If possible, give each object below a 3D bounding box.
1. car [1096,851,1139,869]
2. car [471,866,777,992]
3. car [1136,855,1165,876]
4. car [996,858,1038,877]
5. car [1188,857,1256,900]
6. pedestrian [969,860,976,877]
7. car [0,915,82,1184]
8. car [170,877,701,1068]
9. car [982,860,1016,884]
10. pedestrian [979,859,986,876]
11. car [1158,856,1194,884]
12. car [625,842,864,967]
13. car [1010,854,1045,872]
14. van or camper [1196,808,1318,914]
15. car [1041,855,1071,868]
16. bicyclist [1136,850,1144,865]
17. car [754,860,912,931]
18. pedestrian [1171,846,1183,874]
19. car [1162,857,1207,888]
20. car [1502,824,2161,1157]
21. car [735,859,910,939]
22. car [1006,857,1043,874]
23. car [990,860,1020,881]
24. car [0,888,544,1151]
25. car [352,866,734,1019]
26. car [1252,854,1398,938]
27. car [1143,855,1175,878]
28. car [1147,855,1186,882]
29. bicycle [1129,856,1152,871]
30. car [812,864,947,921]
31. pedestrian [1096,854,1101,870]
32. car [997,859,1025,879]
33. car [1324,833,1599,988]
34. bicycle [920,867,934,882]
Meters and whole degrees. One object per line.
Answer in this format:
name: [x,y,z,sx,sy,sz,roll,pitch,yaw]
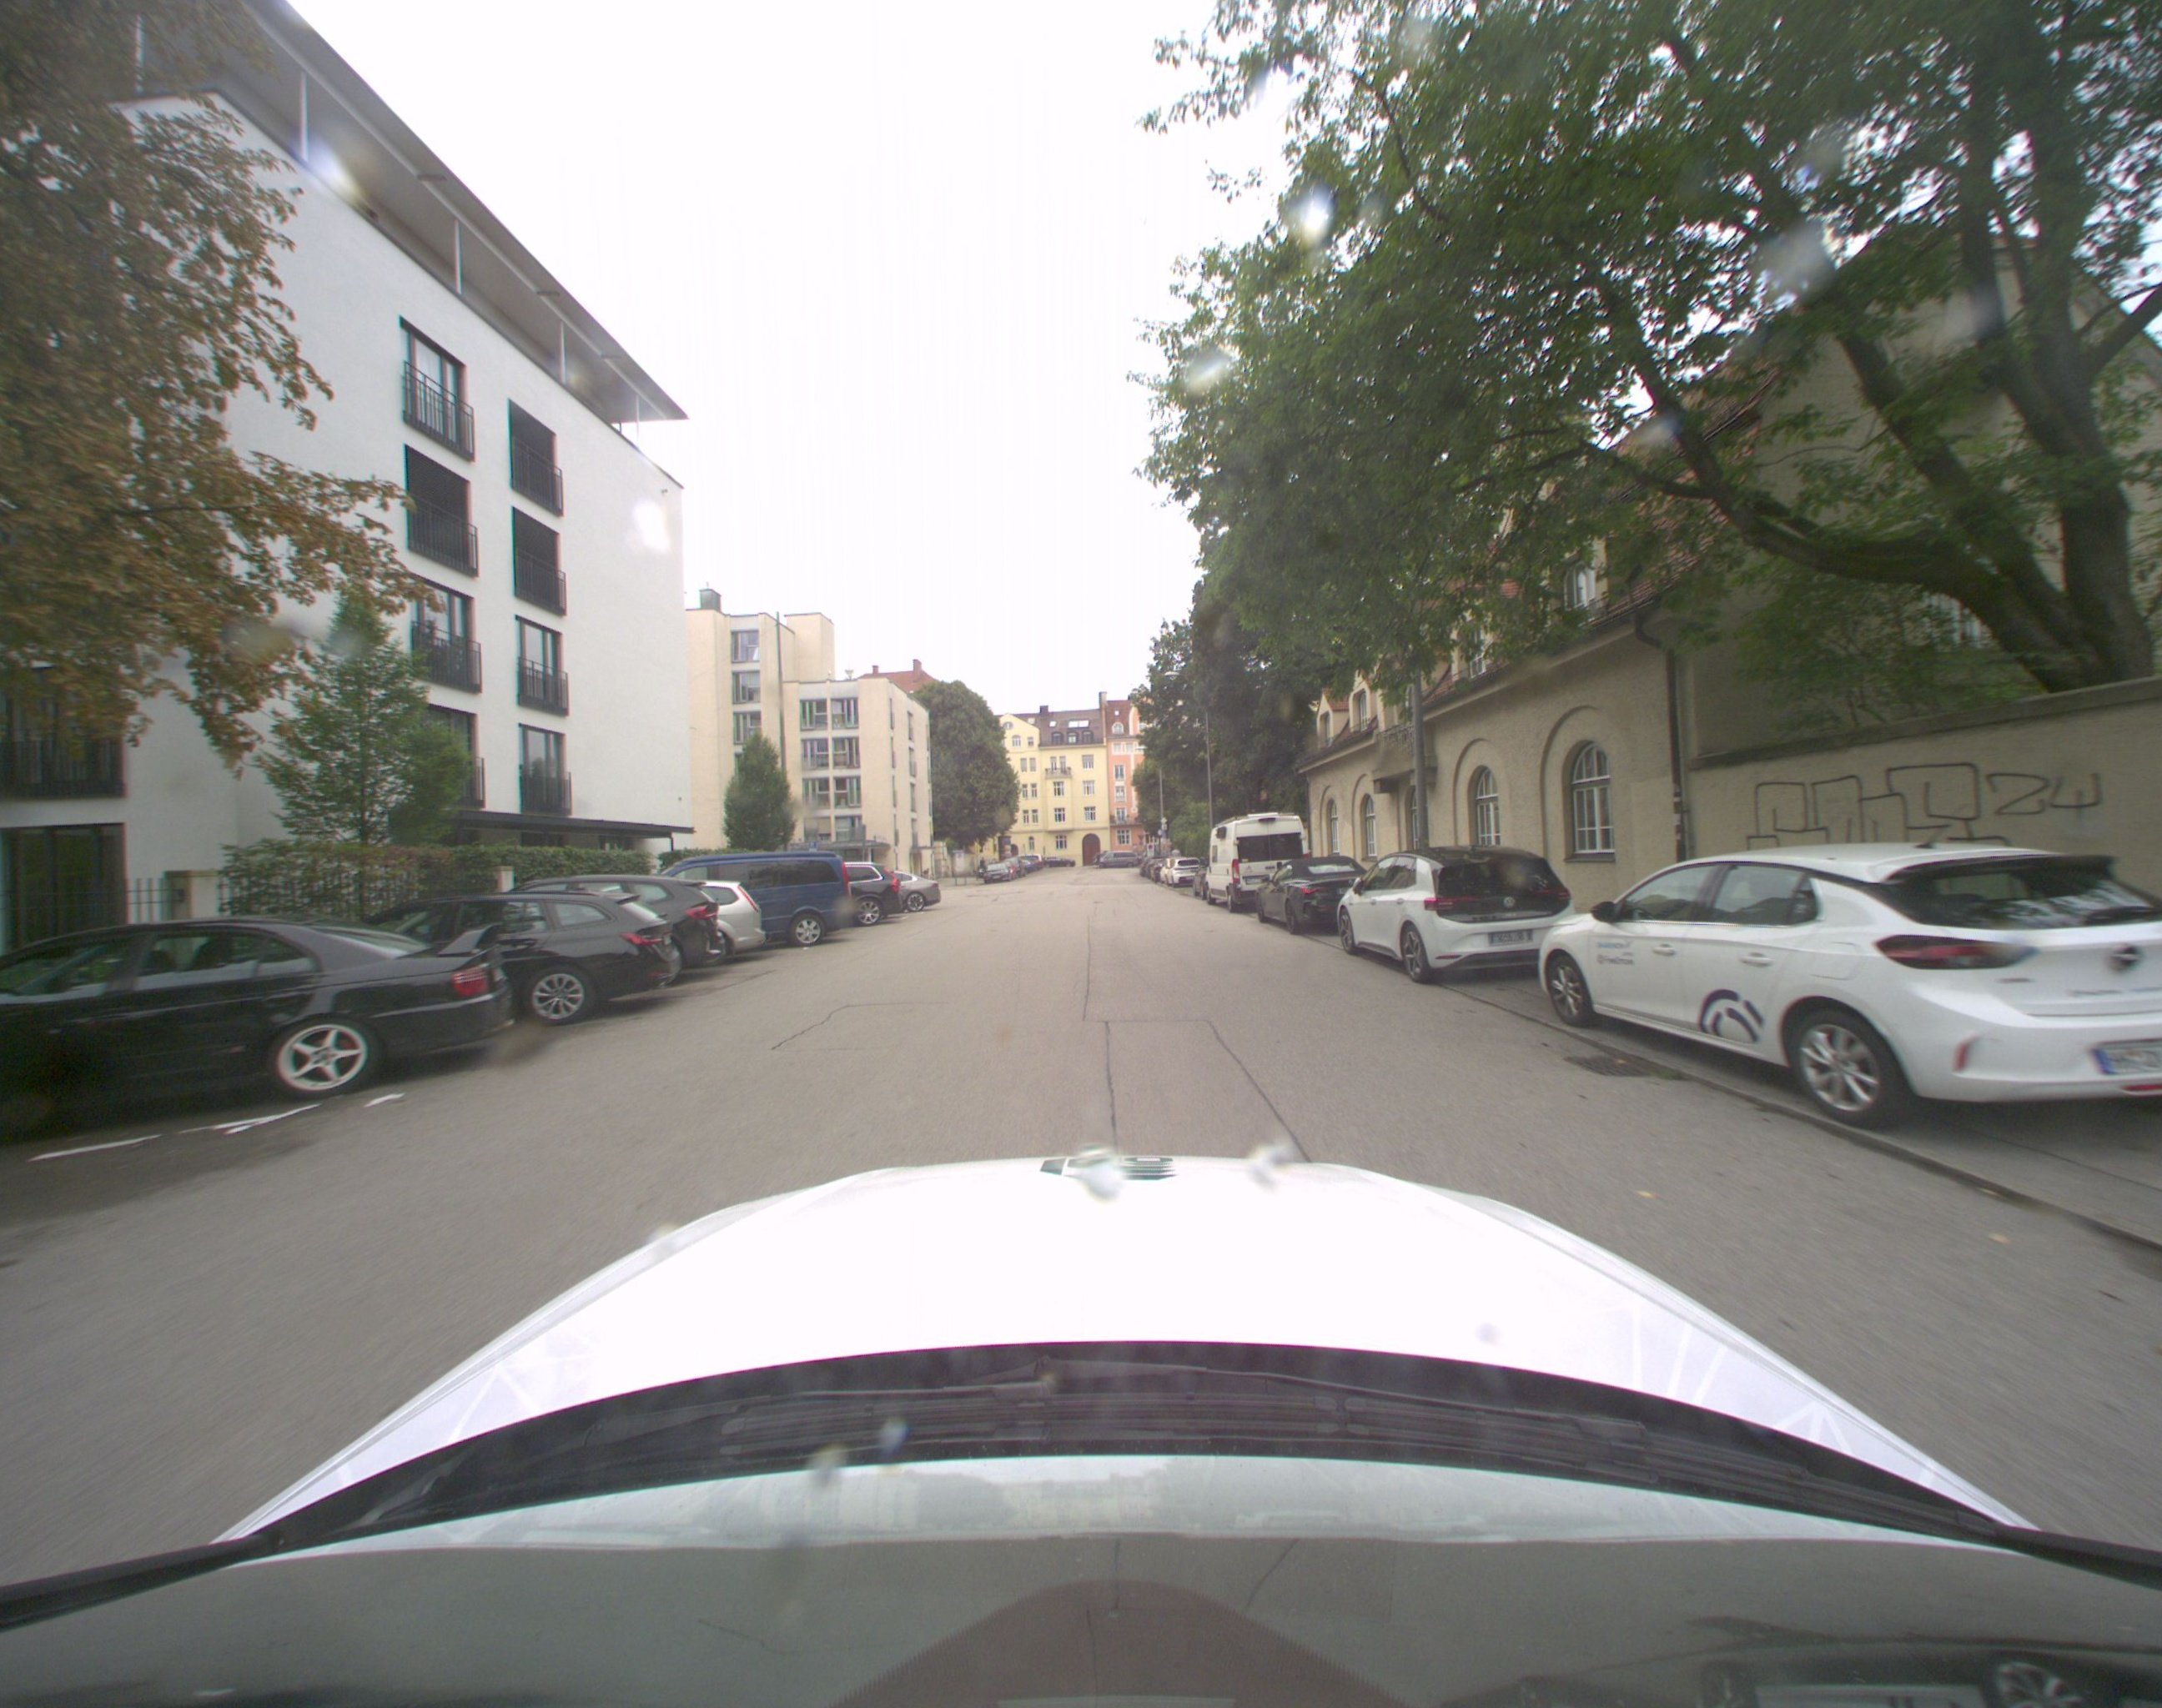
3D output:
car: [4.105,0.666,91.673,4.689,1.880,1.839,-2,0,-1]
car: [-7.580,1.163,13.894,4.229,1.609,1.721,-4,0,-28]
car: [5.222,0.819,61.467,1.665,1.344,3.835,-4,1,-2]
car: [-6.393,1.322,81.767,3.974,1.508,1.840,-5,0,0]
car: [5.089,0.849,29.911,1.702,1.369,4.129,-4,0,0]
pedestrian: [-10.880,1.416,81.709,0.569,1.657,0.465,-2,0,1]
car: [-7.841,1.172,3.413,4.222,1.461,1.779,-3,-1,-23]
car: [-6.683,1.134,9.068,4.219,1.461,1.725,-4,0,-20]
car: [-5.946,1.285,59.612,1.827,1.508,4.001,-5,0,2]
pedestrian: [-9.845,1.385,81.590,0.569,1.657,0.465,-2,0,1]
car: [5.404,0.880,46.807,1.701,1.466,3.839,-4,0,2]
car: [-6.836,0.935,16.679,4.229,2.066,1.721,-4,0,-28]
car: [-6.473,1.104,98.526,3.974,1.799,1.840,-5,0,0]
van or camper: [4.870,0.195,23.511,2.185,2.550,5.728,-4,0,1]
car: [-3.510,1.062,114.265,3.971,1.586,1.704,-2,0,2]
bicyclist: [5.944,0.349,81.898,0.763,1.510,0.655,-1,0,0]
car: [-7.349,1.181,24.212,4.132,1.708,1.721,-4,0,-29]
pedestrian: [7.104,0.448,60.471,0.770,2.013,0.563,-2,0,0]
car: [5.256,0.912,41.866,1.702,1.408,4.129,-4,0,0]
car: [4.802,0.633,5.704,1.679,1.441,4.001,-3,-1,2]
car: [-6.903,1.144,21.825,4.132,1.708,1.721,-4,0,-29]
car: [-6.457,1.326,93.734,3.974,1.508,1.840,-5,0,0]
car: [-6.087,1.290,65.568,1.827,1.508,4.001,-5,0,2]
car: [-6.795,1.161,6.288,4.230,1.461,1.721,-4,0,-30]
car: [-7.314,1.119,11.653,4.224,1.609,1.723,-4,0,-25]
car: [4.785,0.749,16.641,1.701,1.369,4.442,-4,0,1]
car: [5.362,0.872,56.542,1.665,1.344,3.835,-4,1,-2]
car: [5.308,0.887,51.102,1.799,1.465,3.834,-4,1,-2]
bicycle: [5.946,0.953,81.896,2.209,1.510,0.655,-2,0,0]
car: [-6.900,1.286,28.044,4.133,1.609,1.720,-4,0,-31]
pedestrian: [1.870,0.847,87.754,0.462,1.657,0.572,-2,0,-4]
car: [-6.034,1.289,70.467,1.827,1.508,4.001,-5,0,2]
car: [4.701,0.616,10.847,1.701,1.537,4.241,-4,0,2]
bicycle: [-12.101,1.604,64.221,0.636,1.149,2.424,-1,0,-1]
